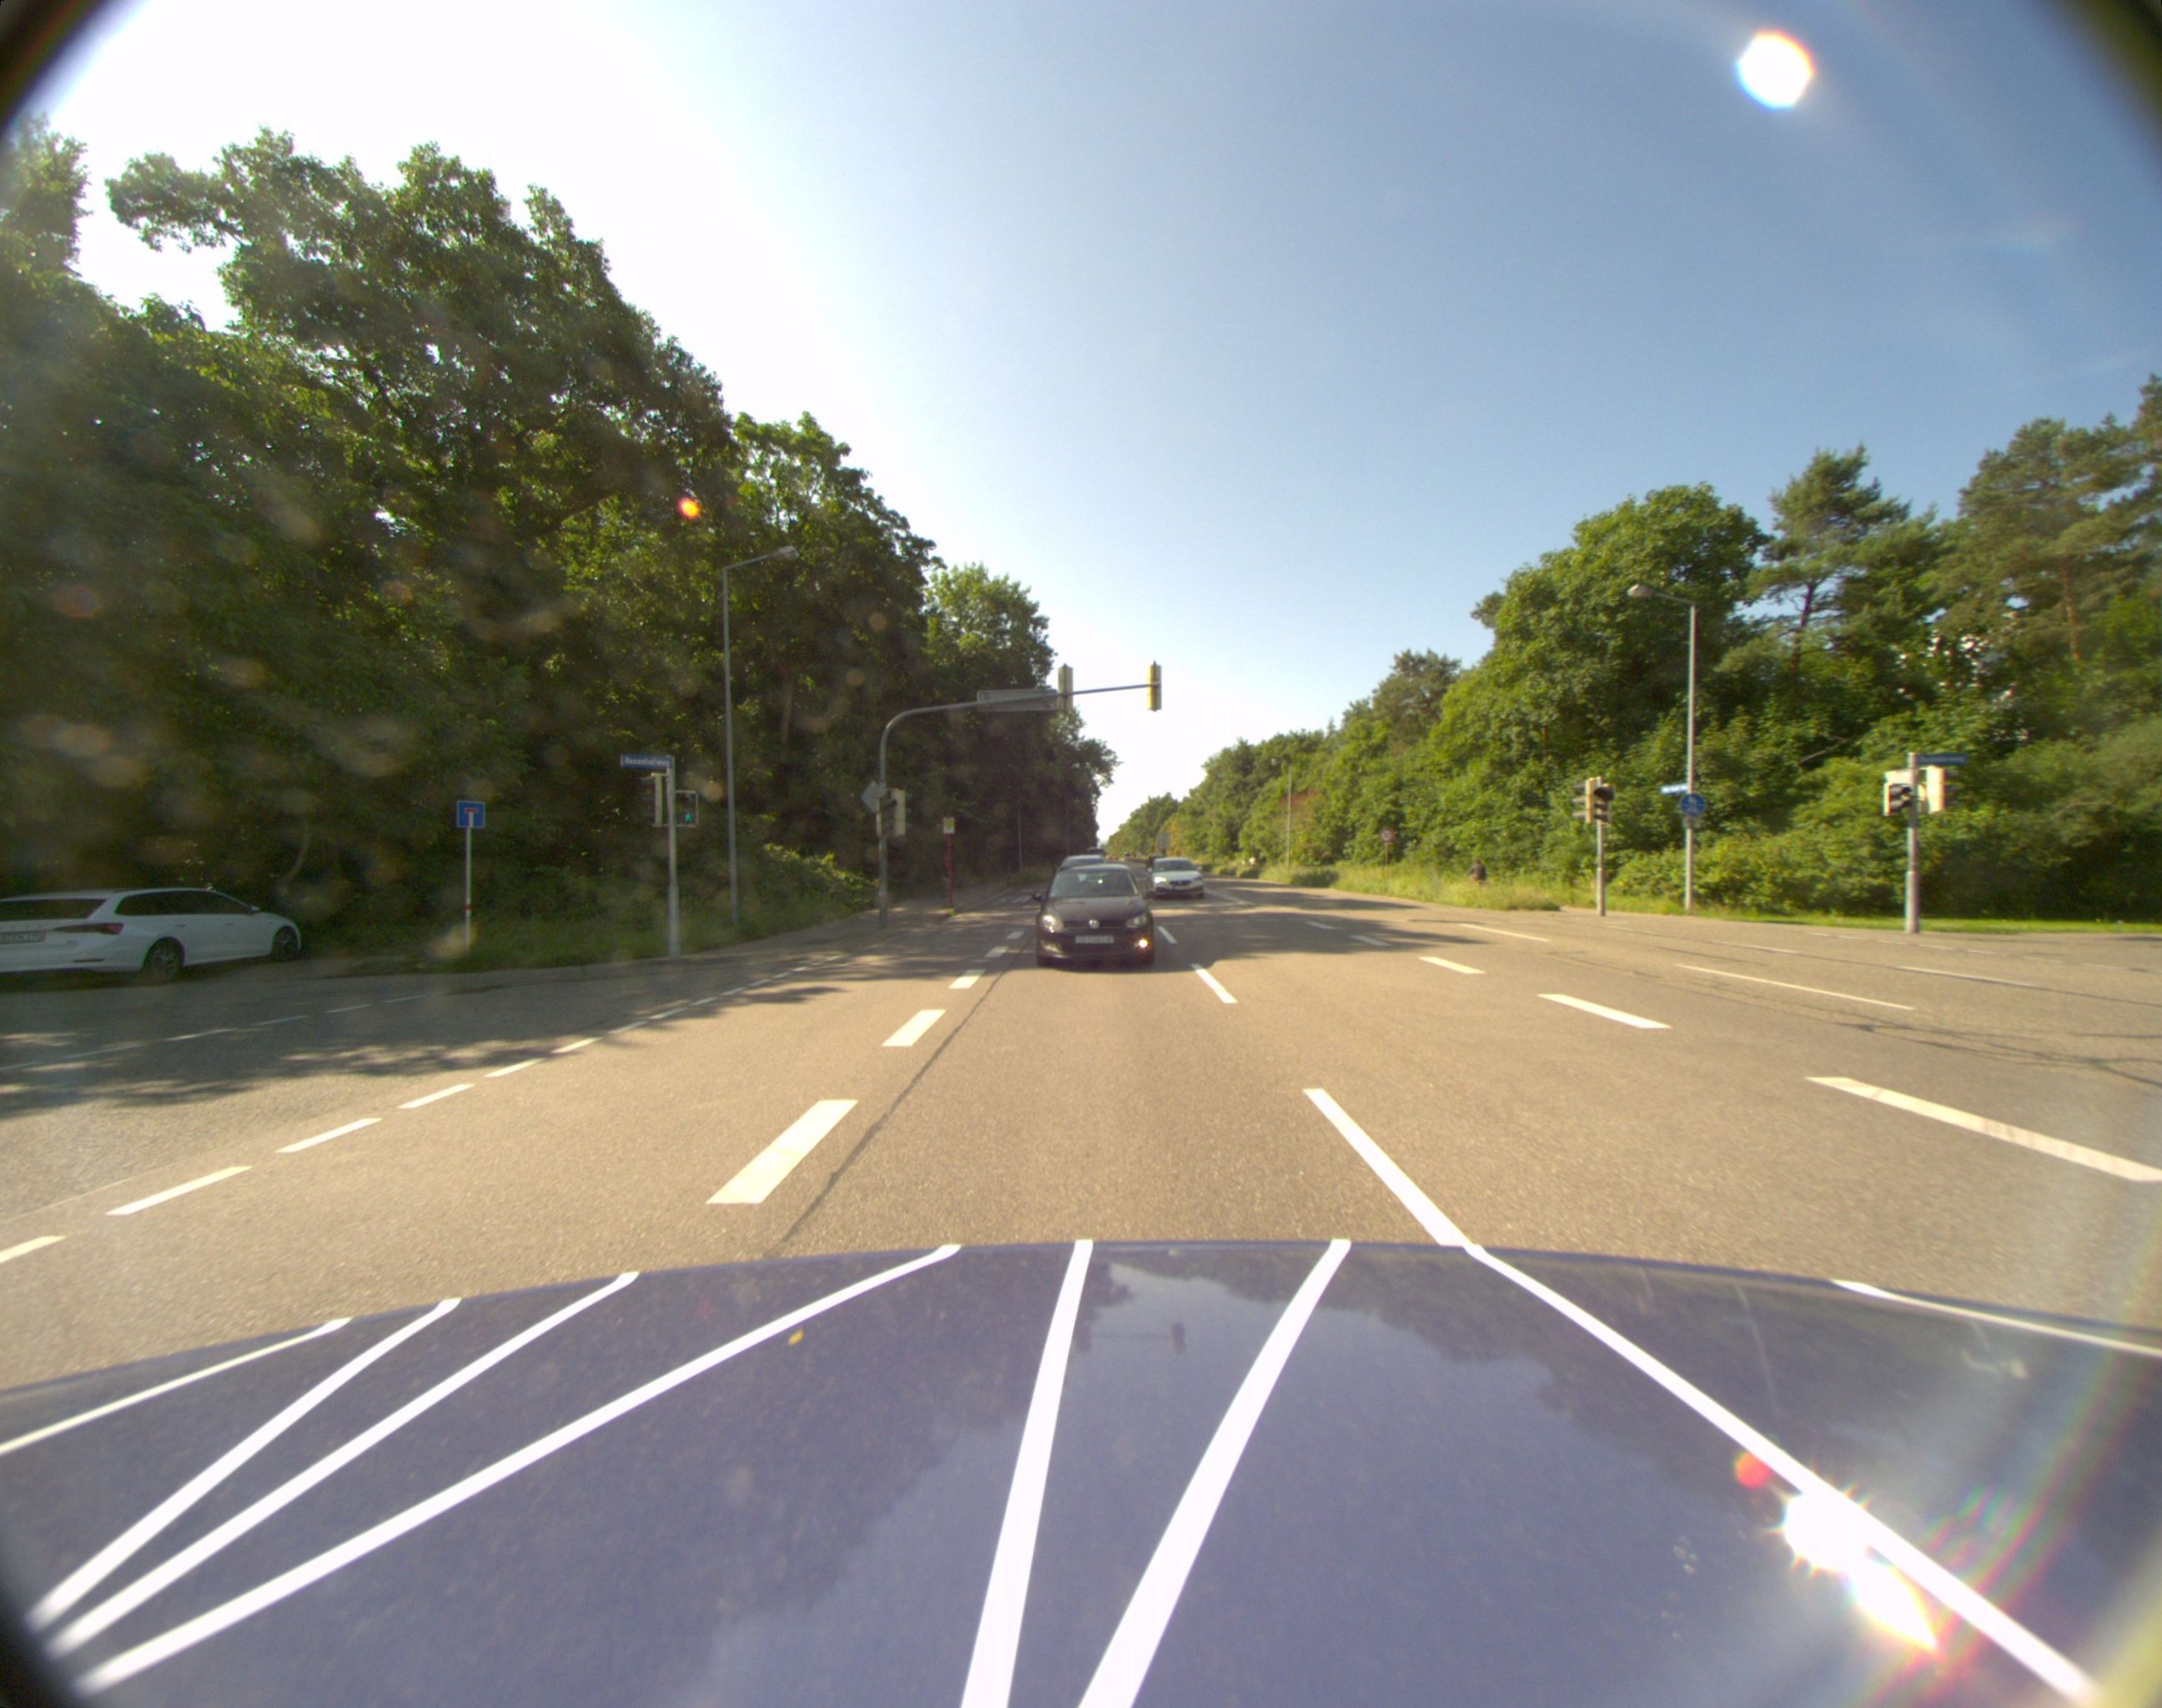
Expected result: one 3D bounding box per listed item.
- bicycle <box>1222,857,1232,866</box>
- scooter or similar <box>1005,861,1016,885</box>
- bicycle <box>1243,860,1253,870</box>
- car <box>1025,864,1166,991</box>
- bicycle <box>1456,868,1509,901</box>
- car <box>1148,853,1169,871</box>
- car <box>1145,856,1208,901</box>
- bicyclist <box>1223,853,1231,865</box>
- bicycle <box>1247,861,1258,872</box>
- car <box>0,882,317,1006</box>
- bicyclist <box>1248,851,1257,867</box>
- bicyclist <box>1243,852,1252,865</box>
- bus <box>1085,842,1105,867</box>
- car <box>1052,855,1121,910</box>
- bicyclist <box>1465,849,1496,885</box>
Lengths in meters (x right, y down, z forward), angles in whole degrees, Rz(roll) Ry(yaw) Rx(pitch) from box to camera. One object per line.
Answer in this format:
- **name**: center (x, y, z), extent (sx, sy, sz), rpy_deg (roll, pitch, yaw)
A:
- **bicycle**: center (16.310, 0.833, 84.872), extent (0.676, 0.951, 1.913), rpy_deg (-2, 1, -1)
- **scooter or similar**: center (-3.879, 1.050, 41.962), extent (0.401, 1.299, 1.328), rpy_deg (-1, 0, -13)
- **bicycle**: center (16.055, 1.080, 73.037), extent (0.605, 0.952, 2.139), rpy_deg (-1, 0, 3)
- **car**: center (0.279, 0.923, 11.277), extent (1.650, 1.422, 4.056), rpy_deg (-3, 0, 3)
- **bicycle**: center (15.078, 1.118, 28.629), extent (0.734, 1.156, 2.372), rpy_deg (-1, 0, 0)
- **car**: center (7.723, 0.793, 76.083), extent (1.795, 1.687, 4.391), rpy_deg (0, 1, 1)
- **car**: center (3.375, 0.824, 27.618), extent (1.788, 1.416, 4.423), rpy_deg (-2, 0, 1)
- **bicyclist**: center (16.299, 0.572, 84.843), extent (0.676, 1.335, 0.975), rpy_deg (-2, 1, -1)
- **bicycle**: center (15.505, 1.107, 68.689), extent (0.605, 0.909, 2.139), rpy_deg (-1, 0, 3)
- **car**: center (-14.693, 1.263, 12.117), extent (1.630, 1.455, 4.608), rpy_deg (-1, 0, -19)
- **bicyclist**: center (15.501, 0.436, 68.751), extent (0.612, 1.458, 0.944), rpy_deg (-2, 1, 3)
- **bicyclist**: center (16.056, 0.422, 73.108), extent (0.702, 1.256, 0.727), rpy_deg (-2, 1, 3)
- **bus**: center (2.063, 0.021, 113.183), extent (2.782, 3.437, 7.793), rpy_deg (-2, 1, 1)
- **car**: center (0.275, 0.882, 25.759), extent (1.812, 1.639, 4.309), rpy_deg (-2, 0, 6)
- **bicyclist**: center (15.060, 0.481, 28.654), extent (0.723, 1.303, 0.883), rpy_deg (-1, 0, -1)
